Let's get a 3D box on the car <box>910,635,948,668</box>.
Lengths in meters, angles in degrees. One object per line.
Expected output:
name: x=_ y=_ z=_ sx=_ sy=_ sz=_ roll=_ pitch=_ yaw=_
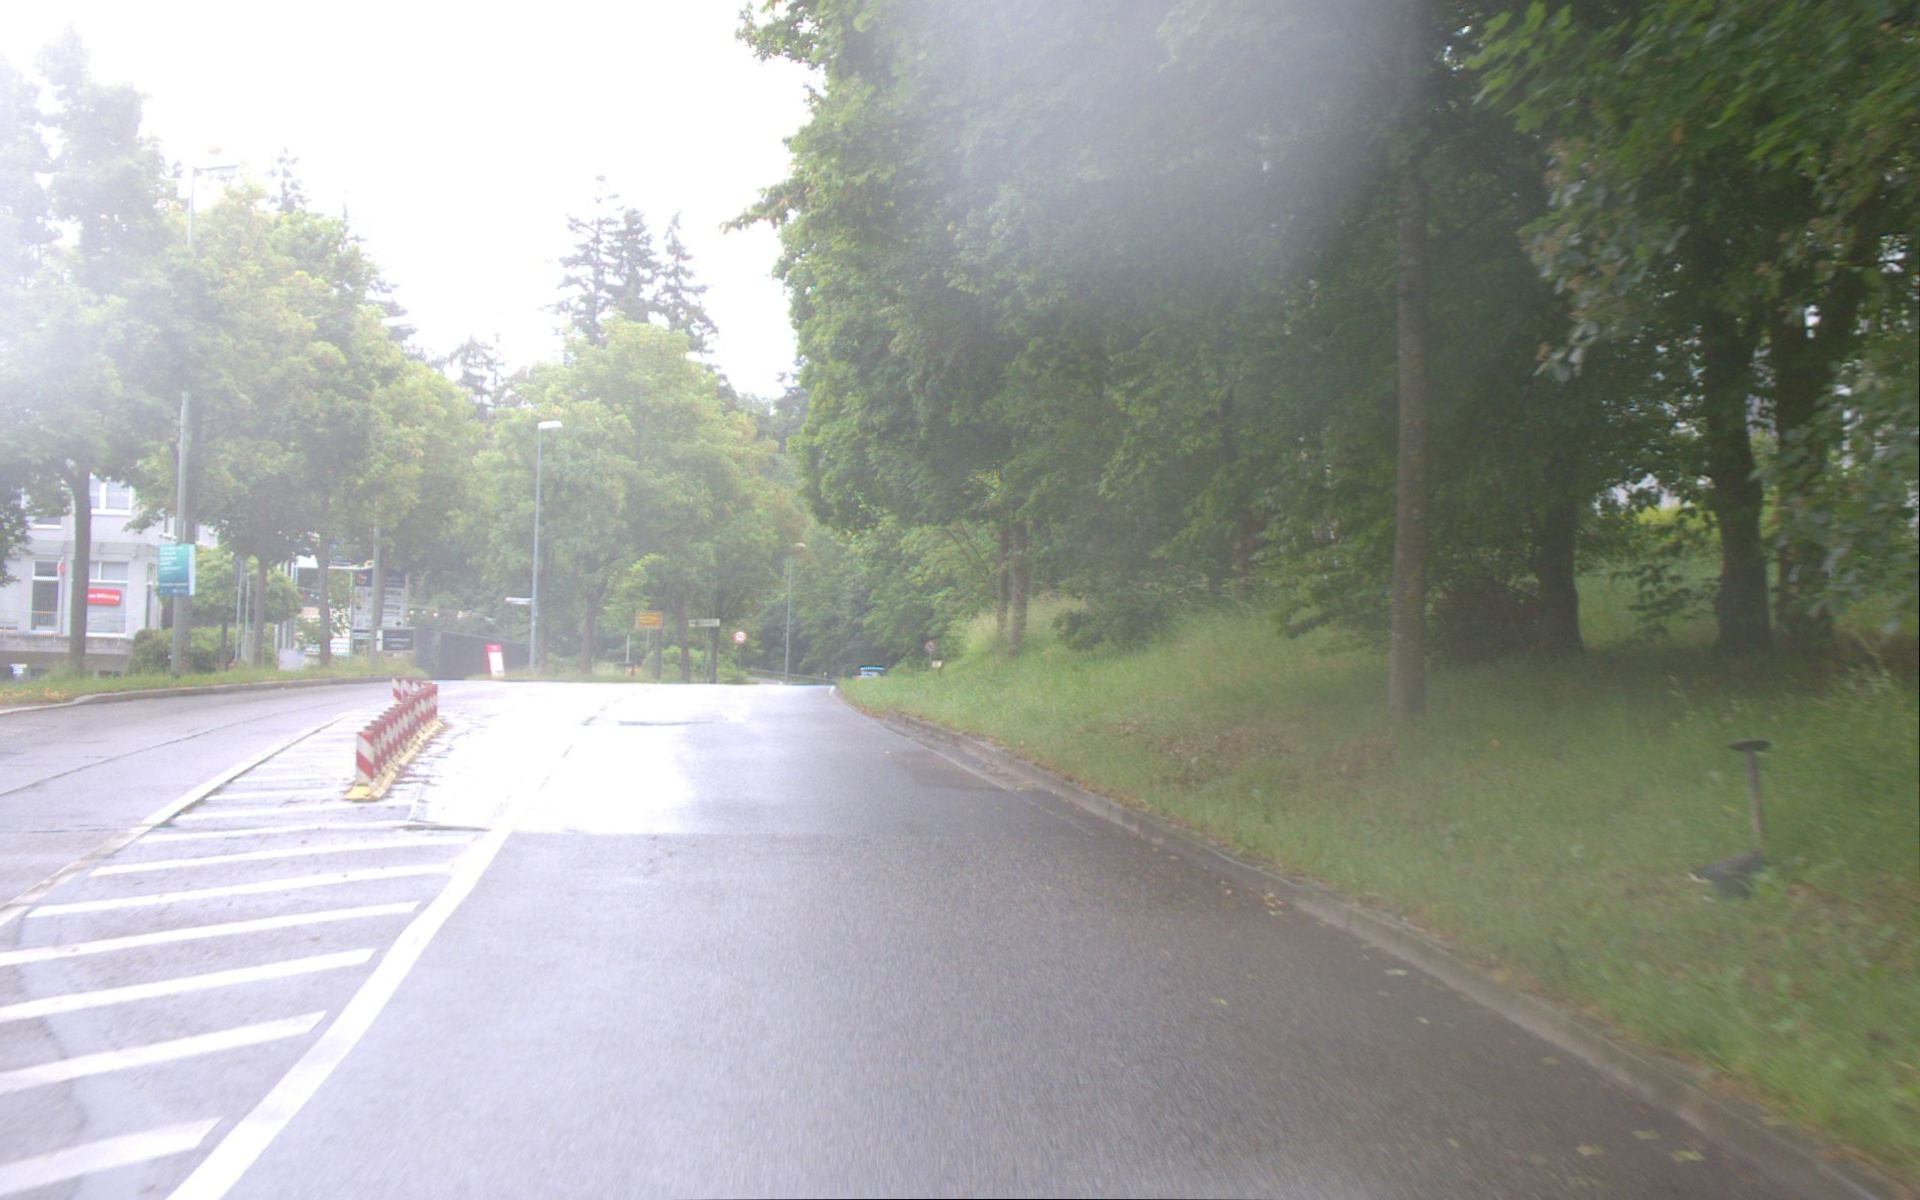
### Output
car: x=-1.498 y=2.458 z=163.471 sx=1.736 sy=1.505 sz=4.000 roll=0 pitch=-2 yaw=-1
